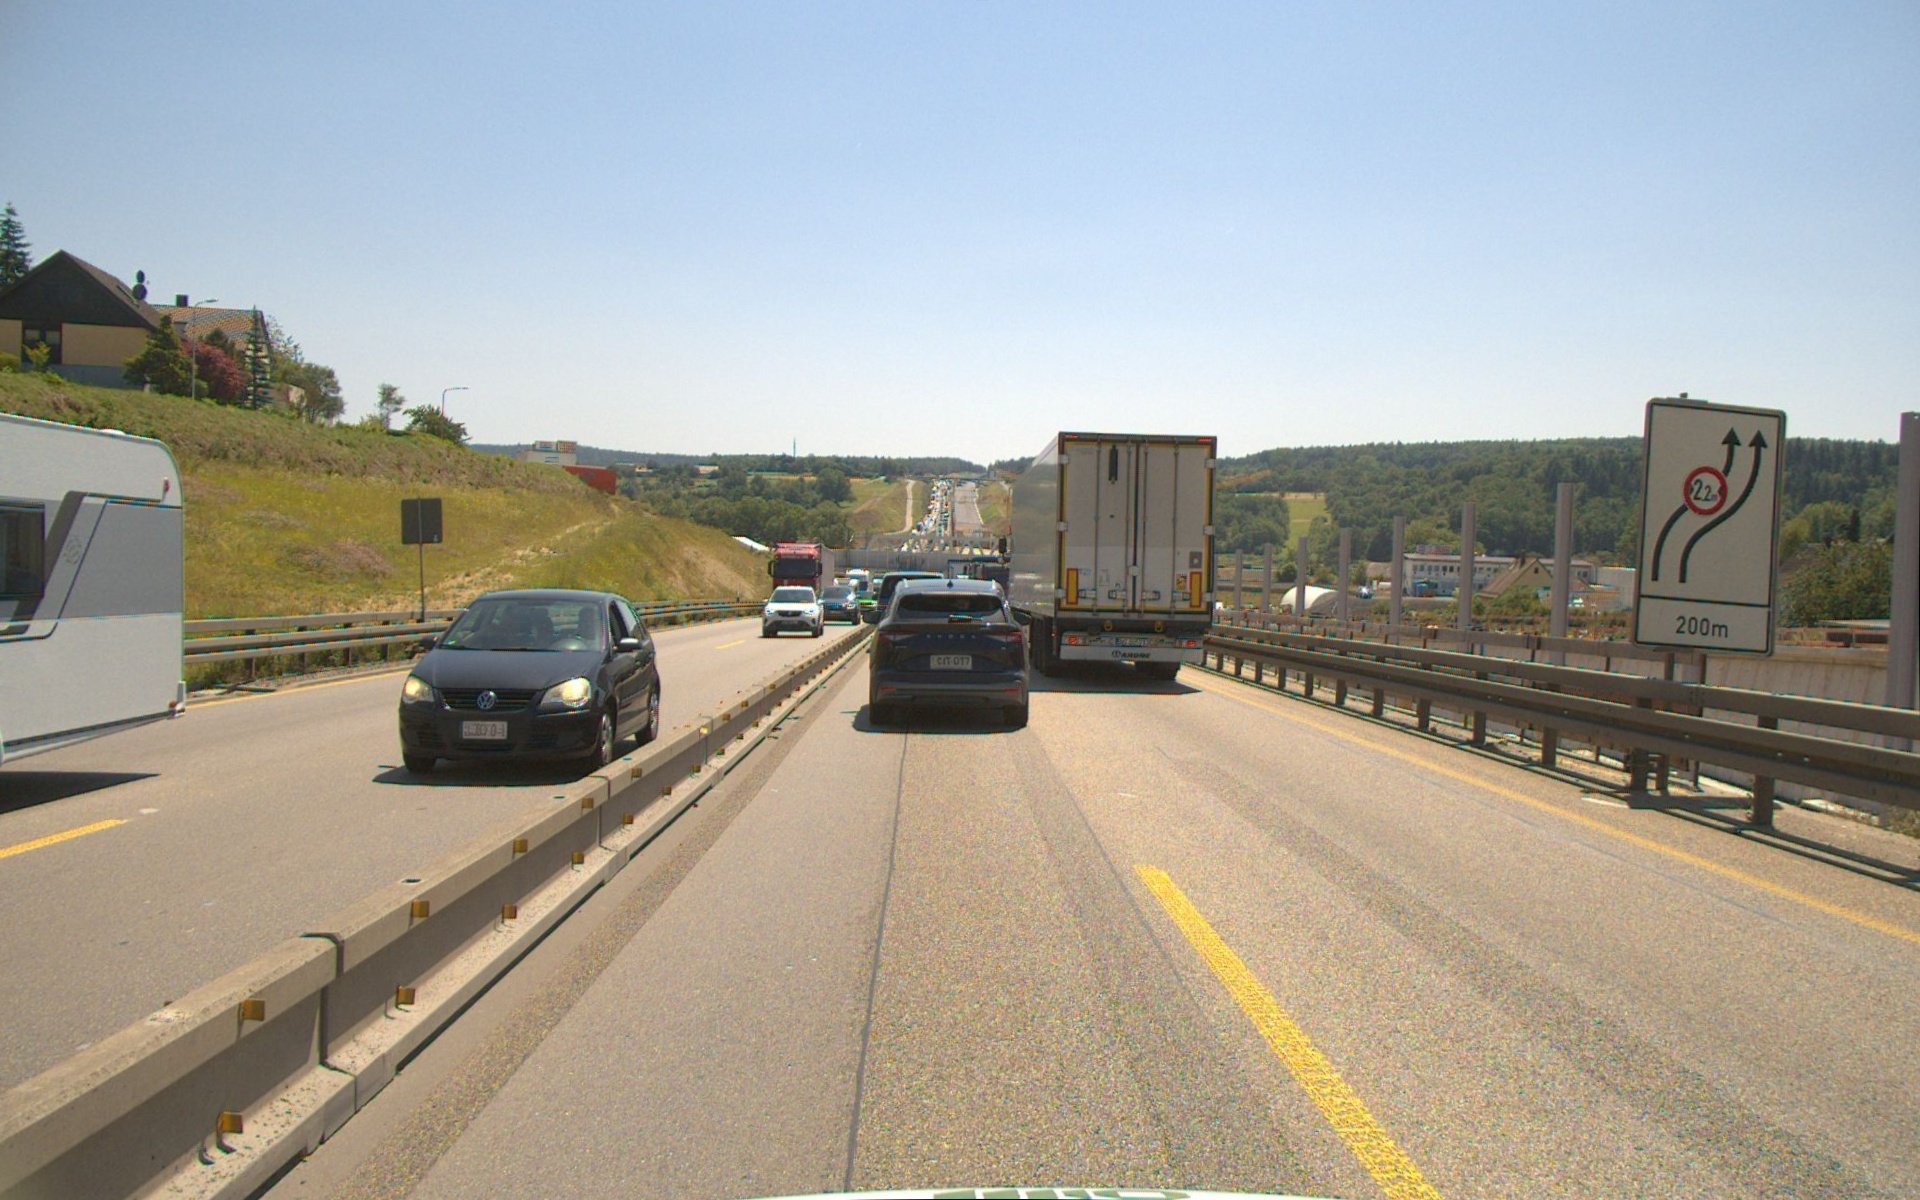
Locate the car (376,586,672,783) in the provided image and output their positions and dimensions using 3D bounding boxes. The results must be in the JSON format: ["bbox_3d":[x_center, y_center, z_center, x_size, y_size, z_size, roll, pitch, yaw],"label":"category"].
[{"bbox_3d":[-3.579,0.622,14.231,1.632,1.438,3.816,1,0,-2],"label":"car"}]

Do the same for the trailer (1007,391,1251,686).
[{"bbox_3d":[2.858,-1.027,32.586,3.116,4.591,13.105,1,1,-1],"label":"trailer"}]

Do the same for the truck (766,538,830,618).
[{"bbox_3d":[-9.134,-1.110,94.533,2.795,4.212,11.912,1,-1,-2],"label":"truck"}]

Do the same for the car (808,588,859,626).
[{"bbox_3d":[-5.374,0.294,70.623,1.953,1.557,3.999,1,0,-2],"label":"car"}]

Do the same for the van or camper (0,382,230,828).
[{"bbox_3d":[-7.001,0.024,9.447,2.309,2.723,7.856,1,0,-1],"label":"van or camper"}]

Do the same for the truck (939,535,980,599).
[{"bbox_3d":[-0.116,-2.479,129.876,2.795,4.543,11.912,1,-1,-2],"label":"truck"}]

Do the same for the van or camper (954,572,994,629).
[{"bbox_3d":[0.883,0.073,101.575,2.339,3.338,6.469,1,-1,1],"label":"van or camper"}]

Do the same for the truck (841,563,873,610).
[{"bbox_3d":[-10.431,-1.269,168.498,2.795,4.414,11.912,1,-1,-2],"label":"truck"}]

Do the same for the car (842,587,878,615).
[{"bbox_3d":[-5.591,0.042,92.902,1.824,1.502,3.999,2,0,-2],"label":"car"}]

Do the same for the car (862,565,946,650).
[{"bbox_3d":[-1.372,0.212,41.010,1.953,1.959,4.506,1,-1,-2],"label":"car"}]

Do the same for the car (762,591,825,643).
[{"bbox_3d":[-5.105,0.491,51.105,1.756,1.545,3.996,0,0,-3],"label":"car"}]

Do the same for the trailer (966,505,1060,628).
[{"bbox_3d":[2.038,-1.156,69.989,3.116,4.592,14.961,1,-1,-1],"label":"trailer"}]

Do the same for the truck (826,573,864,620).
[{"bbox_3d":[-10.007,-0.221,145.137,2.795,3.849,11.912,1,-1,-2],"label":"truck"}]

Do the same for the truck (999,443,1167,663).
[{"bbox_3d":[2.702,-1.034,39.077,3.116,4.591,8.164,1,0,-1],"label":"truck"}]

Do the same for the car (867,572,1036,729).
[{"bbox_3d":[-0.110,0.546,19.494,1.765,1.635,3.999,1,0,-1],"label":"car"}]

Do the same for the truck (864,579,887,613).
[{"bbox_3d":[-11.590,-0.438,227.545,2.795,4.414,11.912,1,-1,-2],"label":"truck"}]

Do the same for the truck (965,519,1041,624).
[{"bbox_3d":[1.922,-1.196,77.158,3.116,4.592,8.162,1,-1,-1],"label":"truck"}]
